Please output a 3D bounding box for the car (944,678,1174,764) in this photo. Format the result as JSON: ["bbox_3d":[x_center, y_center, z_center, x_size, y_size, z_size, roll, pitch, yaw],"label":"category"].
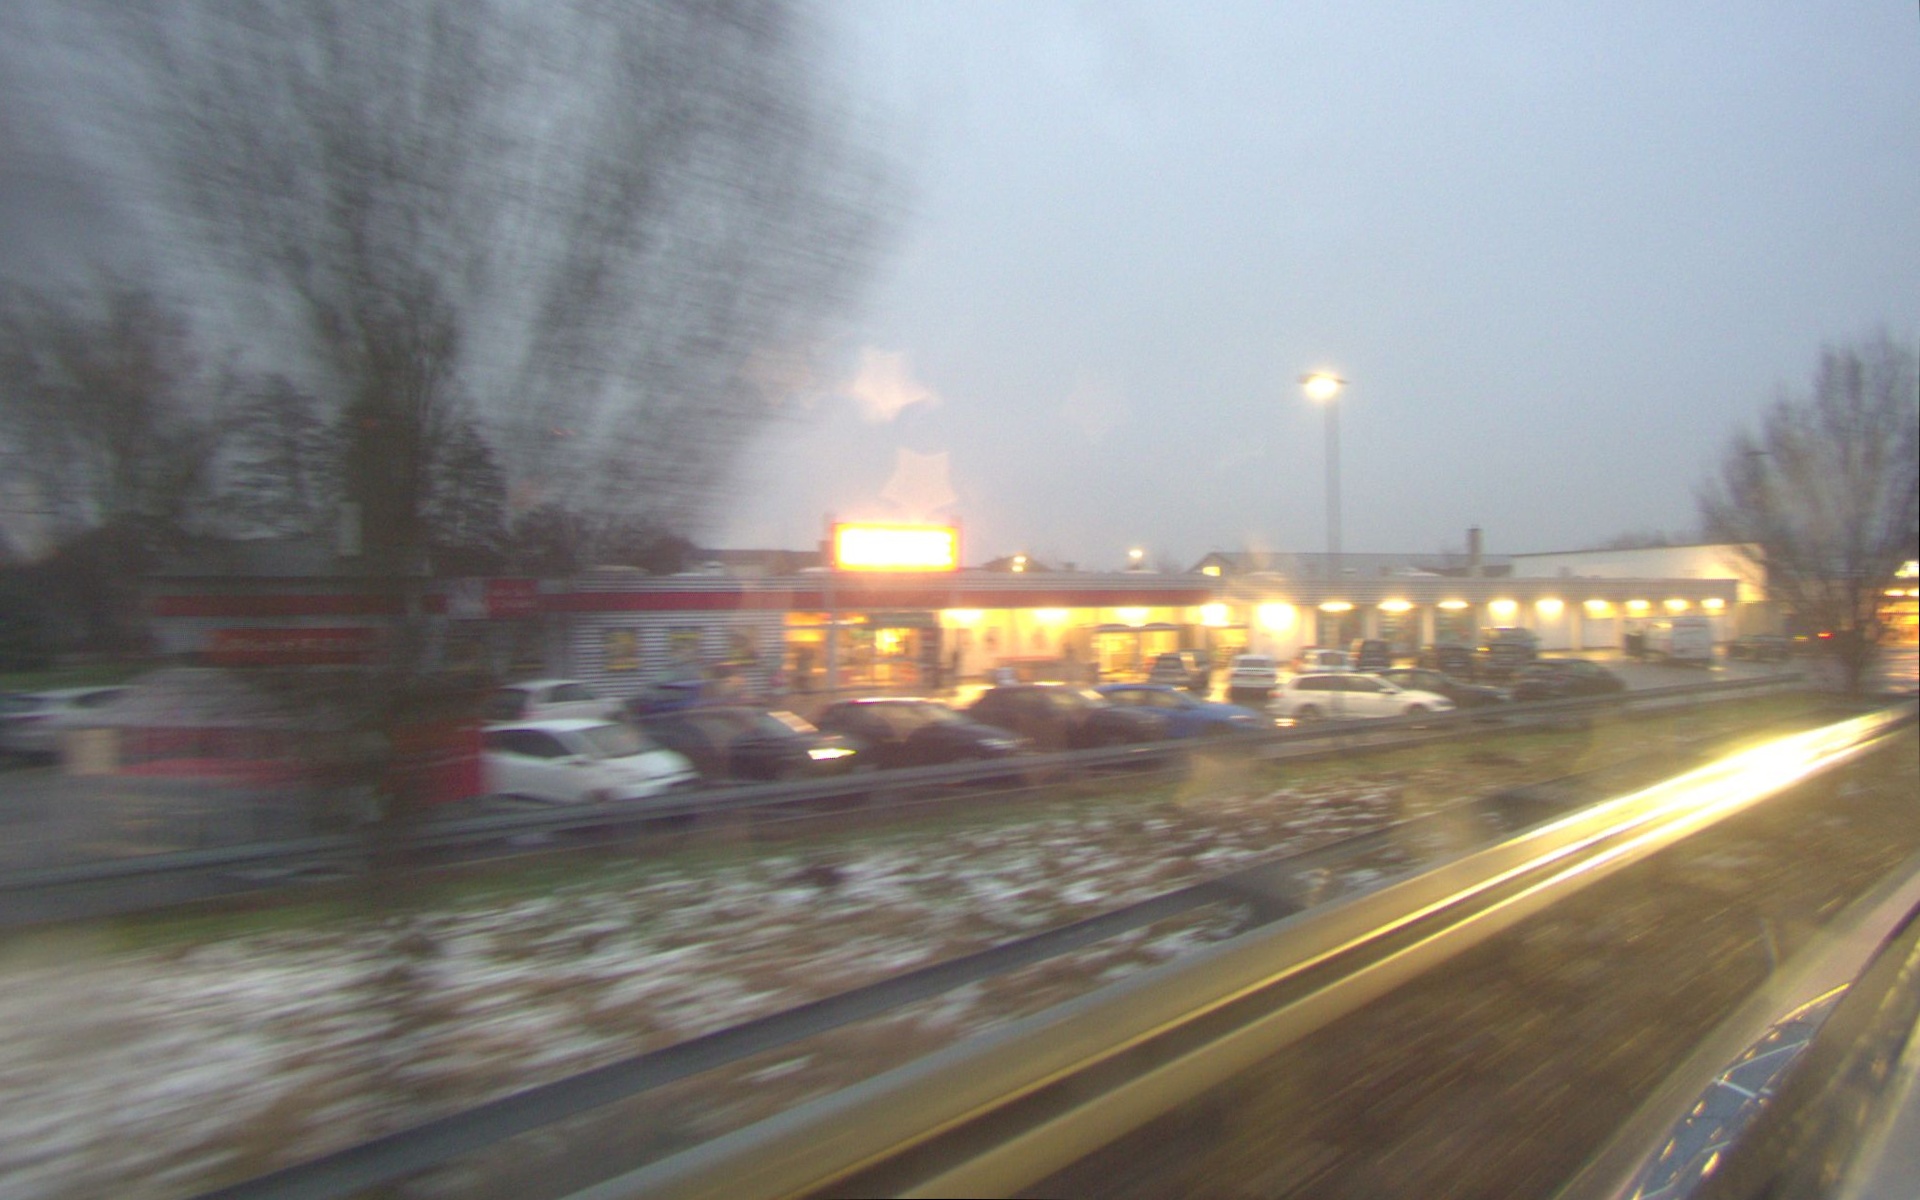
[{"bbox_3d":[2.100,2.452,21.092,4.521,1.473,1.922,-1,0,15],"label":"car"}]

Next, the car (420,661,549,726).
[{"bbox_3d":[-13.929,2.698,29.881,1.544,1.519,3.827,0,0,10],"label":"car"}]

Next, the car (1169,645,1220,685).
[{"bbox_3d":[9.419,2.556,40.479,1.579,1.364,3.609,-1,0,20],"label":"car"}]

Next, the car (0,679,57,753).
[{"bbox_3d":[-23.796,2.825,23.647,1.547,1.633,3.819,0,0,16],"label":"car"}]

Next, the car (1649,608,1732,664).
[{"bbox_3d":[35.707,1.699,49.615,2.256,2.470,5.197,0,1,24],"label":"car"}]

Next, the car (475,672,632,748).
[{"bbox_3d":[-10.006,2.660,25.202,1.550,1.448,3.736,0,0,20],"label":"car"}]

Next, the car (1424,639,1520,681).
[{"bbox_3d":[20.221,2.372,40.098,3.219,1.555,1.382,-1,-2,22],"label":"car"}]

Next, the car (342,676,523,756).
[{"bbox_3d":[-12.591,2.725,24.401,1.552,1.448,3.729,0,0,25],"label":"car"}]

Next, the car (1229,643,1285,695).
[{"bbox_3d":[10.649,2.392,36.118,1.782,1.555,4.517,-1,0,18],"label":"car"}]

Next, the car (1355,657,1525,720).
[{"bbox_3d":[13.179,2.390,28.054,4.133,1.414,1.837,0,1,24],"label":"car"}]

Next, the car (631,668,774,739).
[{"bbox_3d":[-6.800,2.703,27.208,1.723,1.443,4.290,0,0,18],"label":"car"}]

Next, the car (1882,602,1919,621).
[{"bbox_3d":[82.041,0.996,86.823,1.770,1.617,4.019,0,1,-28],"label":"car"}]

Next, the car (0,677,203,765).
[{"bbox_3d":[-20.791,2.835,24.427,1.603,1.628,3.813,0,0,20],"label":"car"}]

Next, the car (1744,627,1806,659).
[{"bbox_3d":[41.824,2.164,51.994,1.698,1.430,3.976,0,1,27],"label":"car"}]

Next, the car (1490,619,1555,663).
[{"bbox_3d":[27.507,1.970,49.632,1.863,1.983,4.929,-1,-1,18],"label":"car"}]

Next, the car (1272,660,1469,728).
[{"bbox_3d":[10.699,2.402,26.579,4.652,1.414,1.890,0,1,24],"label":"car"}]

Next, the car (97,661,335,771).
[{"bbox_3d":[-16.129,2.429,22.208,1.699,1.892,4.015,0,0,16],"label":"car"}]

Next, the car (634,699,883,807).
[{"bbox_3d":[-3.457,2.568,17.464,3.945,1.438,1.623,0,0,17],"label":"car"}]

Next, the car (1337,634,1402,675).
[{"bbox_3d":[18.234,2.395,45.236,1.771,1.615,3.970,0,0,8],"label":"car"}]

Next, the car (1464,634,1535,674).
[{"bbox_3d":[22.911,2.254,43.083,1.692,1.536,3.248,-1,-1,10],"label":"car"}]

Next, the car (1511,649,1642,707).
[{"bbox_3d":[18.881,2.345,30.966,3.734,1.447,1.776,-1,1,-28],"label":"car"}]

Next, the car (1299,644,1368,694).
[{"bbox_3d":[13.954,2.518,38.011,1.798,1.660,4.452,0,-2,12],"label":"car"}]

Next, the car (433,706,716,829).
[{"bbox_3d":[-6.059,2.566,15.998,3.945,1.457,1.787,0,0,17],"label":"car"}]

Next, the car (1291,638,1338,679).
[{"bbox_3d":[15.260,2.480,43.714,1.703,1.520,4.005,0,0,16],"label":"car"}]

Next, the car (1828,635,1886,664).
[{"bbox_3d":[49.081,2.668,55.426,1.515,1.355,3.554,0,1,27],"label":"car"}]

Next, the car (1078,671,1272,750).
[{"bbox_3d":[4.944,2.469,23.193,4.129,1.414,1.891,0,1,21],"label":"car"}]

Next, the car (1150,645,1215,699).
[{"bbox_3d":[7.720,2.432,34.909,1.581,1.606,3.604,-1,0,23],"label":"car"}]

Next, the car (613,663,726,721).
[{"bbox_3d":[-8.636,2.697,30.413,1.547,1.369,3.820,0,0,15],"label":"car"}]

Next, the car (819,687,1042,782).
[{"bbox_3d":[-0.536,2.491,19.199,3.945,1.438,1.623,0,0,17],"label":"car"}]
